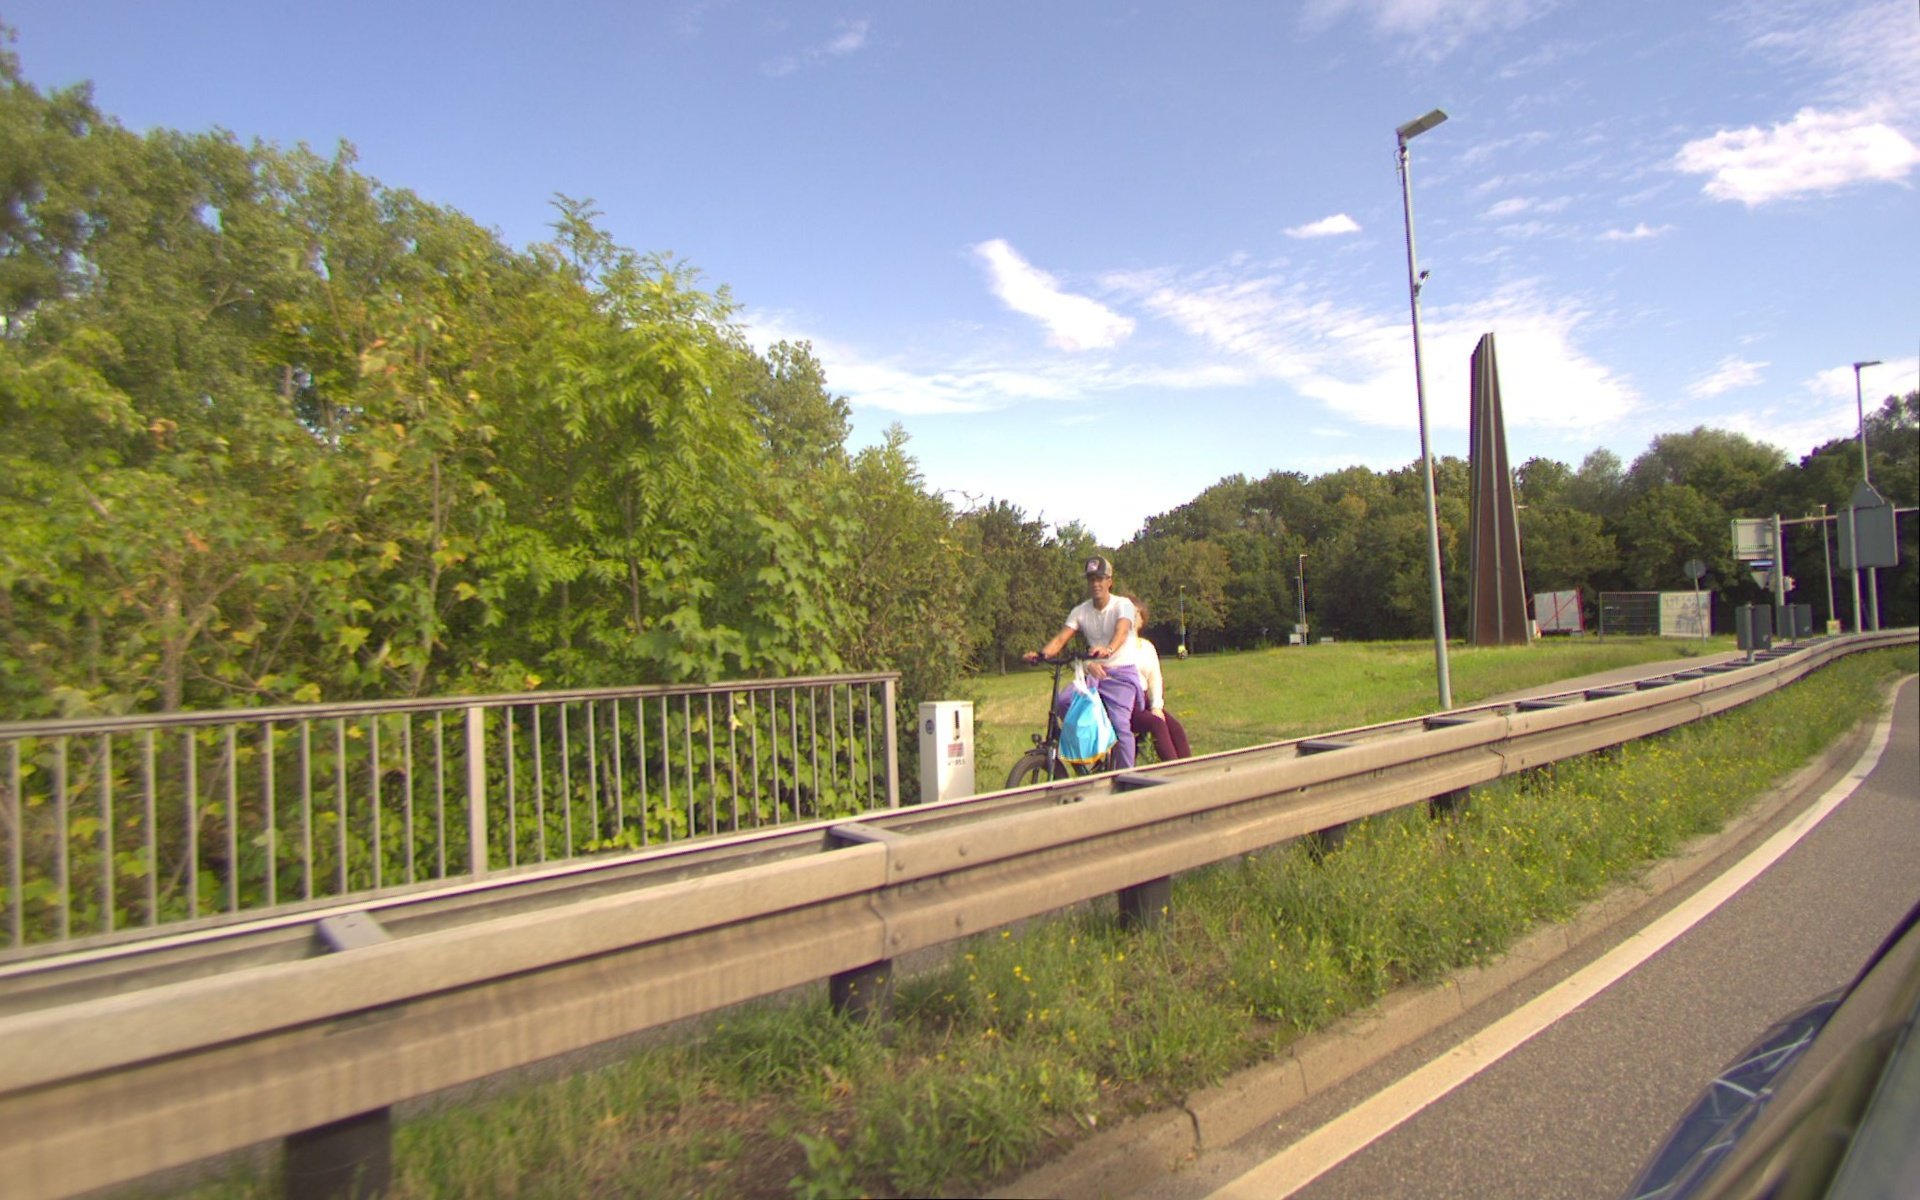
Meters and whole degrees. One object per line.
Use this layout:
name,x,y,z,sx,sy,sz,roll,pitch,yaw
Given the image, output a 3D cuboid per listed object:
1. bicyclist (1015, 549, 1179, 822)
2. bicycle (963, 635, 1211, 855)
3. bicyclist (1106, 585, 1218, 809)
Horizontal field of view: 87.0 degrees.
bicyclist,0.861,0.491,6.361,0.741,1.577,0.708,0,-1,-42
bicycle,0.832,0.820,6.310,1.668,1.134,0.596,0,0,-42
bicyclist,1.327,0.600,6.656,0.529,1.389,0.500,0,-1,-42
